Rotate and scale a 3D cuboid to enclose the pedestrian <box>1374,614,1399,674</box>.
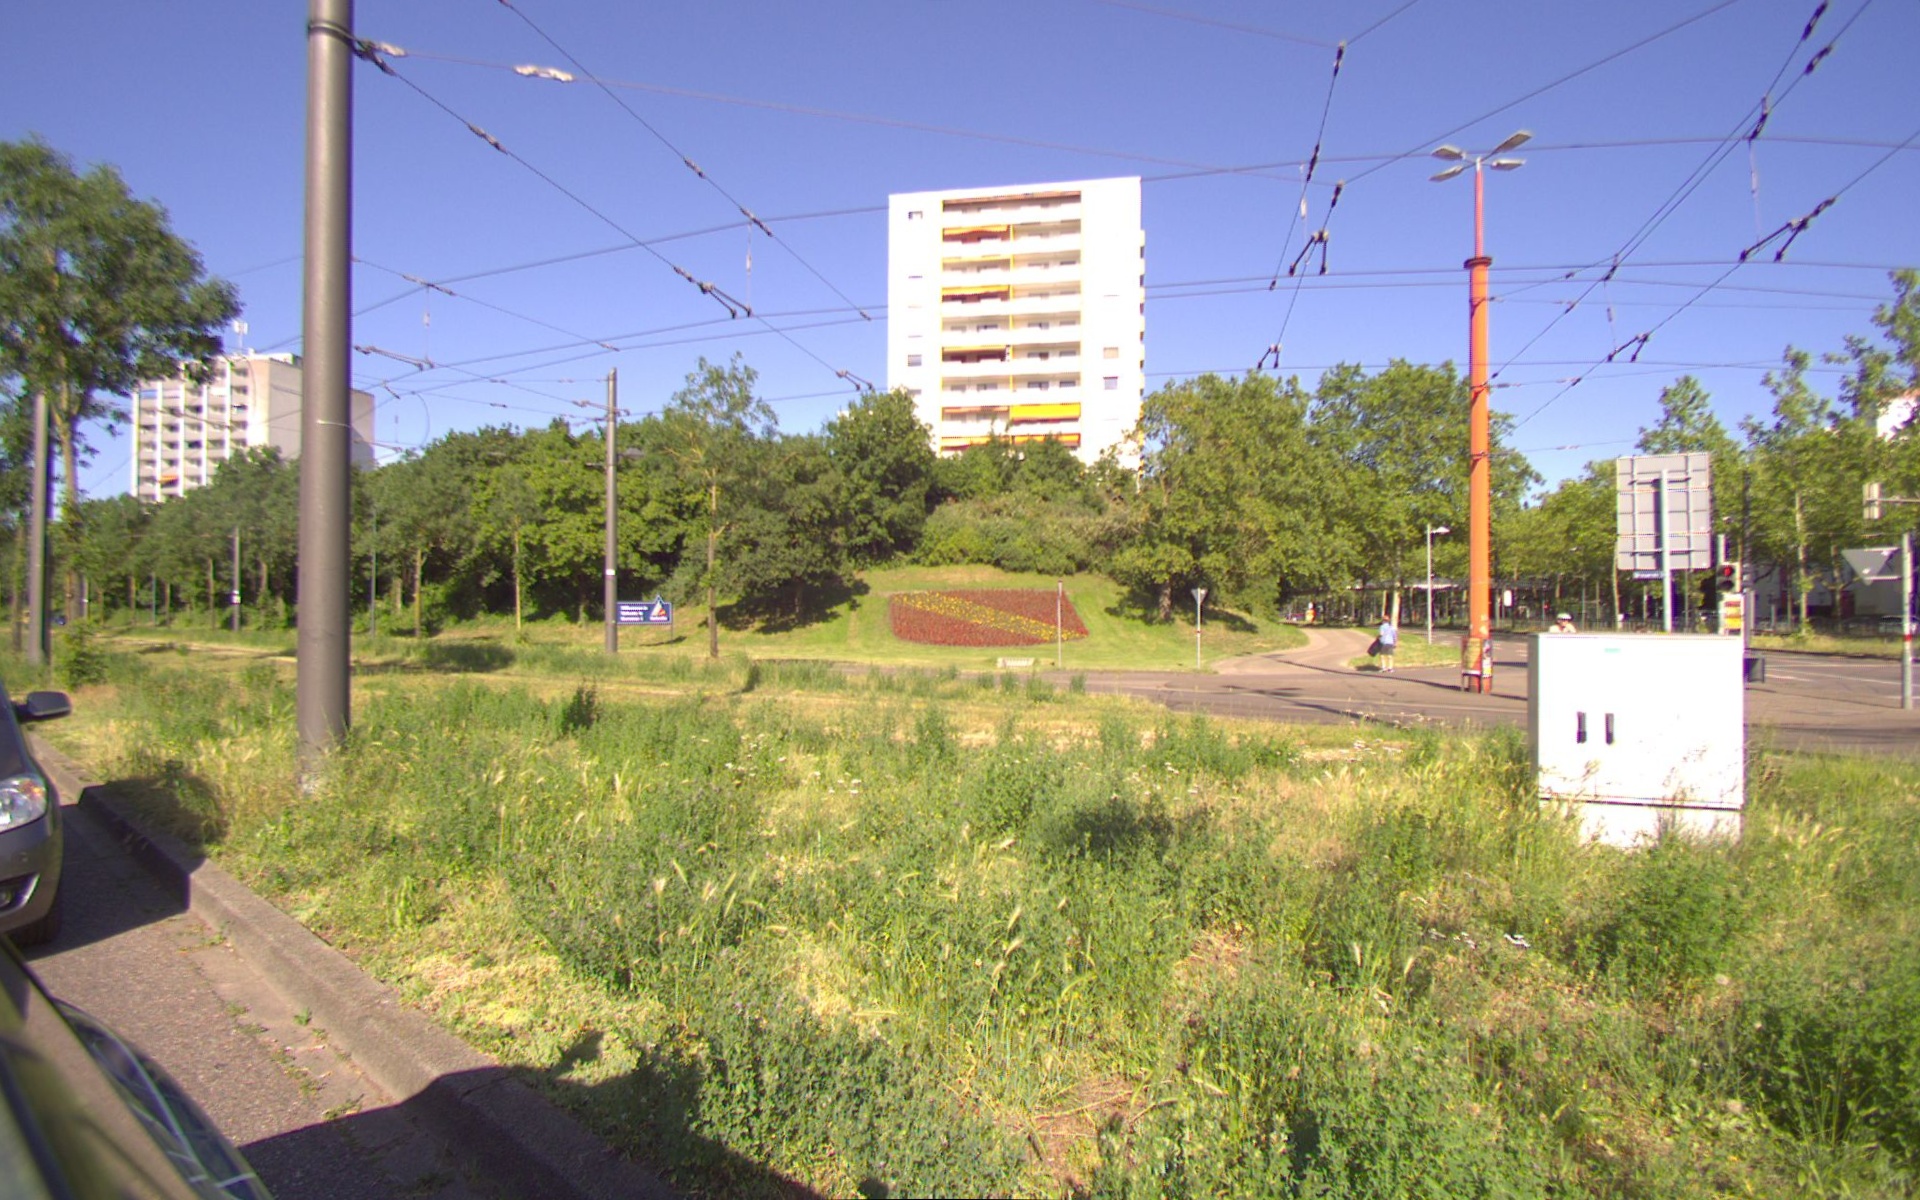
[{"bbox_3d":[13.961,1.436,33.116,0.729,1.949,0.726,-1,-2,24],"label":"pedestrian"}]

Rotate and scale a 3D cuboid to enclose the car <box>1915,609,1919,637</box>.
[{"bbox_3d":[64.404,1.504,65.909,3.931,1.829,2.006,0,-2,-27],"label":"car"}]

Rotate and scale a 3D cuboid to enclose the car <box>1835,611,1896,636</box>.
[{"bbox_3d":[66.015,1.698,73.767,3.931,1.829,2.006,0,-2,-27],"label":"car"}]

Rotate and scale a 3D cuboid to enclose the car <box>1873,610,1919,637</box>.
[{"bbox_3d":[65.247,1.641,69.871,3.931,1.829,2.006,0,-2,-27],"label":"car"}]

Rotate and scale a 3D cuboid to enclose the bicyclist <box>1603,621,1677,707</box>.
[{"bbox_3d":[13.351,1.241,19.889,0.920,1.650,0.741,0,-1,-1],"label":"bicyclist"}]

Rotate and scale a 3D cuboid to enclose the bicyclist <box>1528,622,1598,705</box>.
[{"bbox_3d":[12.094,1.258,20.307,0.920,1.650,0.741,0,-1,-1],"label":"bicyclist"}]

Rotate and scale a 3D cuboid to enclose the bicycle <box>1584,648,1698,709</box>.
[{"bbox_3d":[13.355,1.520,19.922,0.915,1.095,1.888,0,-1,-2],"label":"bicycle"}]

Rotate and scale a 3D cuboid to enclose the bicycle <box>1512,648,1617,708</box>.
[{"bbox_3d":[12.089,1.536,20.324,0.915,1.095,1.888,0,-1,-2],"label":"bicycle"}]

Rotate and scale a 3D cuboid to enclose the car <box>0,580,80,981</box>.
[{"bbox_3d":[-5.943,0.754,5.050,4.382,1.619,1.754,-1,-2,41],"label":"car"}]
